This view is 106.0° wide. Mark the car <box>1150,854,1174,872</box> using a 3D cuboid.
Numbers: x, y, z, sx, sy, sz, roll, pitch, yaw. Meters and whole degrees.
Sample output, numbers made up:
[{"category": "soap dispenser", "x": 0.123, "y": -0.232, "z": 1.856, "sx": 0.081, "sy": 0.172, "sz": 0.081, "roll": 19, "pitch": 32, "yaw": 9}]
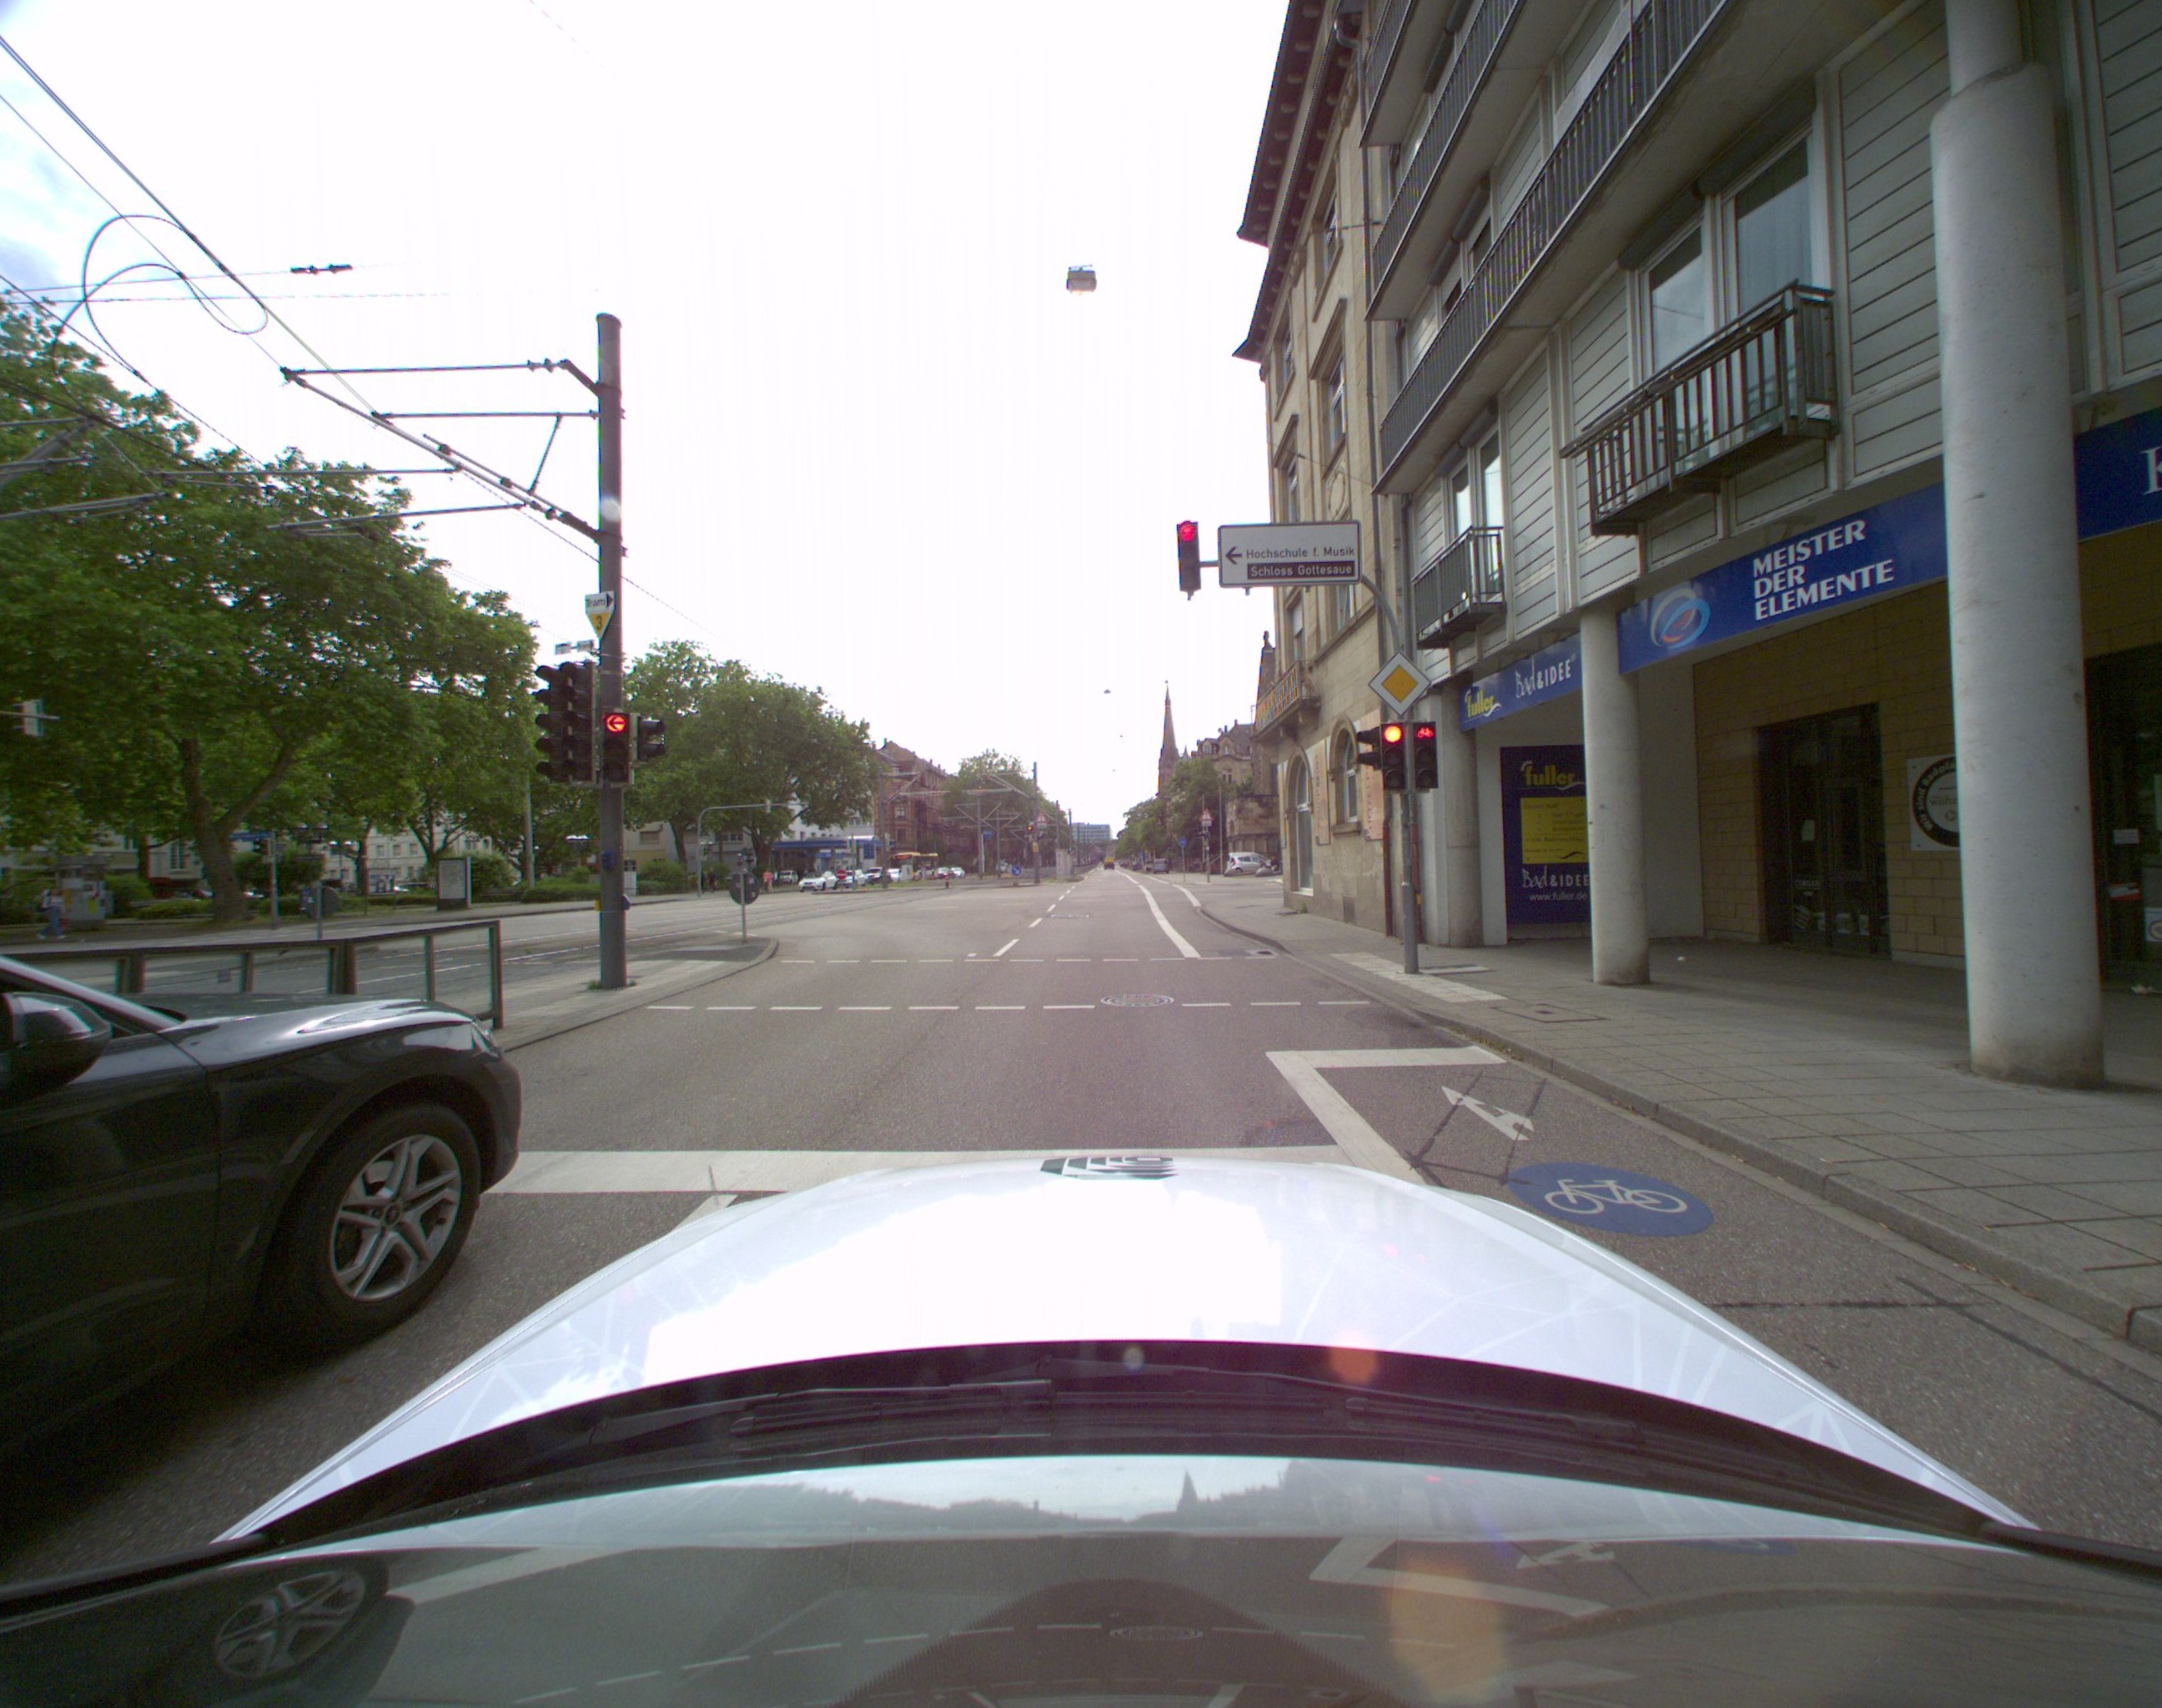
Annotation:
[{"category": "car", "x": 8.973, "y": 0.995, "z": 89.955, "sx": 1.979, "sy": 1.855, "sz": 4.042, "roll": -1, "pitch": -1, "yaw": 14}]

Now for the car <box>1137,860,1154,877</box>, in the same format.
[{"category": "car", "x": 7.885, "y": 1.706, "z": 99.513, "sx": 1.985, "sy": 2.014, "sz": 4.004, "roll": 0, "pitch": -1, "yaw": 4}]

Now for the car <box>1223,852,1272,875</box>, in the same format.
[{"category": "car", "x": 13.927, "y": 0.794, "z": 68.242, "sx": 3.699, "sy": 1.855, "sz": 2.001, "roll": 0, "pitch": -1, "yaw": 2}]

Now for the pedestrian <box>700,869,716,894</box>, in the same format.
[{"category": "pedestrian", "x": -26.123, "y": 1.912, "z": 56.987, "sx": 0.875, "sy": 1.713, "sz": 0.869, "roll": -1, "pitch": -1, "yaw": -18}]

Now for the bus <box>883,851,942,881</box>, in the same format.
[{"category": "bus", "x": -18.300, "y": 1.313, "z": 89.721, "sx": 3.217, "sy": 3.035, "sz": 12.323, "roll": 0, "pitch": 0, "yaw": 4}]

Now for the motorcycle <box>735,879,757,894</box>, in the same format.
[{"category": "motorcycle", "x": -22.672, "y": 2.190, "z": 55.162, "sx": 0.604, "sy": 0.928, "sz": 1.953, "roll": -2, "pitch": -1, "yaw": 2}]

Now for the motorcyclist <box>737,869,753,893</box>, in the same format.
[{"category": "motorcyclist", "x": -22.687, "y": 1.820, "z": 54.994, "sx": 0.617, "sy": 1.520, "sz": 0.874, "roll": -2, "pitch": -1, "yaw": 2}]

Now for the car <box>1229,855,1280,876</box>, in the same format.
[{"category": "car", "x": 13.746, "y": 0.910, "z": 64.718, "sx": 3.699, "sy": 1.563, "sz": 2.001, "roll": 0, "pitch": -1, "yaw": 2}]

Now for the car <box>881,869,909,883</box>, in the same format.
[{"category": "car", "x": -18.158, "y": 2.113, "z": 79.644, "sx": 1.649, "sy": 1.321, "sz": 3.641, "roll": 0, "pitch": -1, "yaw": 3}]

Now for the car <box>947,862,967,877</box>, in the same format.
[{"category": "car", "x": -16.749, "y": 2.077, "z": 110.193, "sx": 1.986, "sy": 2.014, "sz": 4.001, "roll": 0, "pitch": -1, "yaw": 2}]

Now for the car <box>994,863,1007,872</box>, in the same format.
[{"category": "car", "x": -14.793, "y": 2.463, "z": 149.904, "sx": 1.986, "sy": 1.610, "sz": 4.001, "roll": 0, "pitch": -1, "yaw": 2}]

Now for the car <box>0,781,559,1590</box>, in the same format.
[{"category": "car", "x": -3.070, "y": 0.674, "z": 1.233, "sx": 1.727, "sy": 1.637, "sz": 4.228, "roll": 0, "pitch": -1, "yaw": 2}]

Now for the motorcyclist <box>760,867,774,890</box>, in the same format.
[{"category": "motorcyclist", "x": -21.604, "y": 1.665, "z": 56.053, "sx": 0.617, "sy": 1.520, "sz": 0.874, "roll": -2, "pitch": -1, "yaw": 2}]

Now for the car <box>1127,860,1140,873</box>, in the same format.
[{"category": "car", "x": 8.689, "y": 2.065, "z": 135.983, "sx": 1.986, "sy": 2.014, "sz": 4.001, "roll": 0, "pitch": -1, "yaw": 2}]

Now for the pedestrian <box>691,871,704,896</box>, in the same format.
[{"category": "pedestrian", "x": -26.651, "y": 2.018, "z": 56.646, "sx": 0.690, "sy": 1.713, "sz": 0.865, "roll": -1, "pitch": -1, "yaw": -17}]

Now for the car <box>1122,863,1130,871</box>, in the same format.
[{"category": "car", "x": 11.913, "y": 3.389, "z": 216.791, "sx": 1.986, "sy": 2.014, "sz": 4.001, "roll": 0, "pitch": -1, "yaw": 2}]

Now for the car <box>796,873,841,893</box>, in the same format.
[{"category": "car", "x": -19.165, "y": 2.088, "z": 59.549, "sx": 1.739, "sy": 1.321, "sz": 4.079, "roll": 0, "pitch": -1, "yaw": 3}]

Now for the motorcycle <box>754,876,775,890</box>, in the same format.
[{"category": "motorcycle", "x": -21.644, "y": 1.969, "z": 55.718, "sx": 0.604, "sy": 0.928, "sz": 1.953, "roll": -2, "pitch": -1, "yaw": 2}]

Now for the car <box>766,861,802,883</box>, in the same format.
[{"category": "car", "x": -29.785, "y": 1.786, "z": 81.816, "sx": 1.986, "sy": 2.014, "sz": 4.001, "roll": -1, "pitch": -1, "yaw": 2}]

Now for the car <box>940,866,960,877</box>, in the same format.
[{"category": "car", "x": -16.534, "y": 2.205, "z": 102.791, "sx": 1.649, "sy": 1.321, "sz": 3.641, "roll": 0, "pitch": -1, "yaw": 3}]

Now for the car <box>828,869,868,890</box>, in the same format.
[{"category": "car", "x": -18.844, "y": 2.068, "z": 66.080, "sx": 1.986, "sy": 1.594, "sz": 4.001, "roll": 0, "pitch": -1, "yaw": 2}]

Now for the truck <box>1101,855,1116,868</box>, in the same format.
[{"category": "truck", "x": 6.233, "y": 1.624, "z": 184.914, "sx": 3.042, "sy": 2.769, "sz": 9.825, "roll": -2, "pitch": 0, "yaw": 4}]

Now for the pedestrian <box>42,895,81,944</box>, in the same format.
[{"category": "pedestrian", "x": -32.741, "y": 2.104, "z": 26.151, "sx": 0.674, "sy": 1.510, "sz": 0.661, "roll": -2, "pitch": -1, "yaw": 28}]

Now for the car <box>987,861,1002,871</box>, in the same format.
[{"category": "car", "x": -15.052, "y": 2.081, "z": 142.095, "sx": 1.986, "sy": 1.610, "sz": 4.001, "roll": 0, "pitch": -1, "yaw": 2}]

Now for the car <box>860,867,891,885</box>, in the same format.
[{"category": "car", "x": -18.330, "y": 1.942, "z": 72.723, "sx": 1.649, "sy": 1.478, "sz": 3.641, "roll": 0, "pitch": -1, "yaw": 3}]
